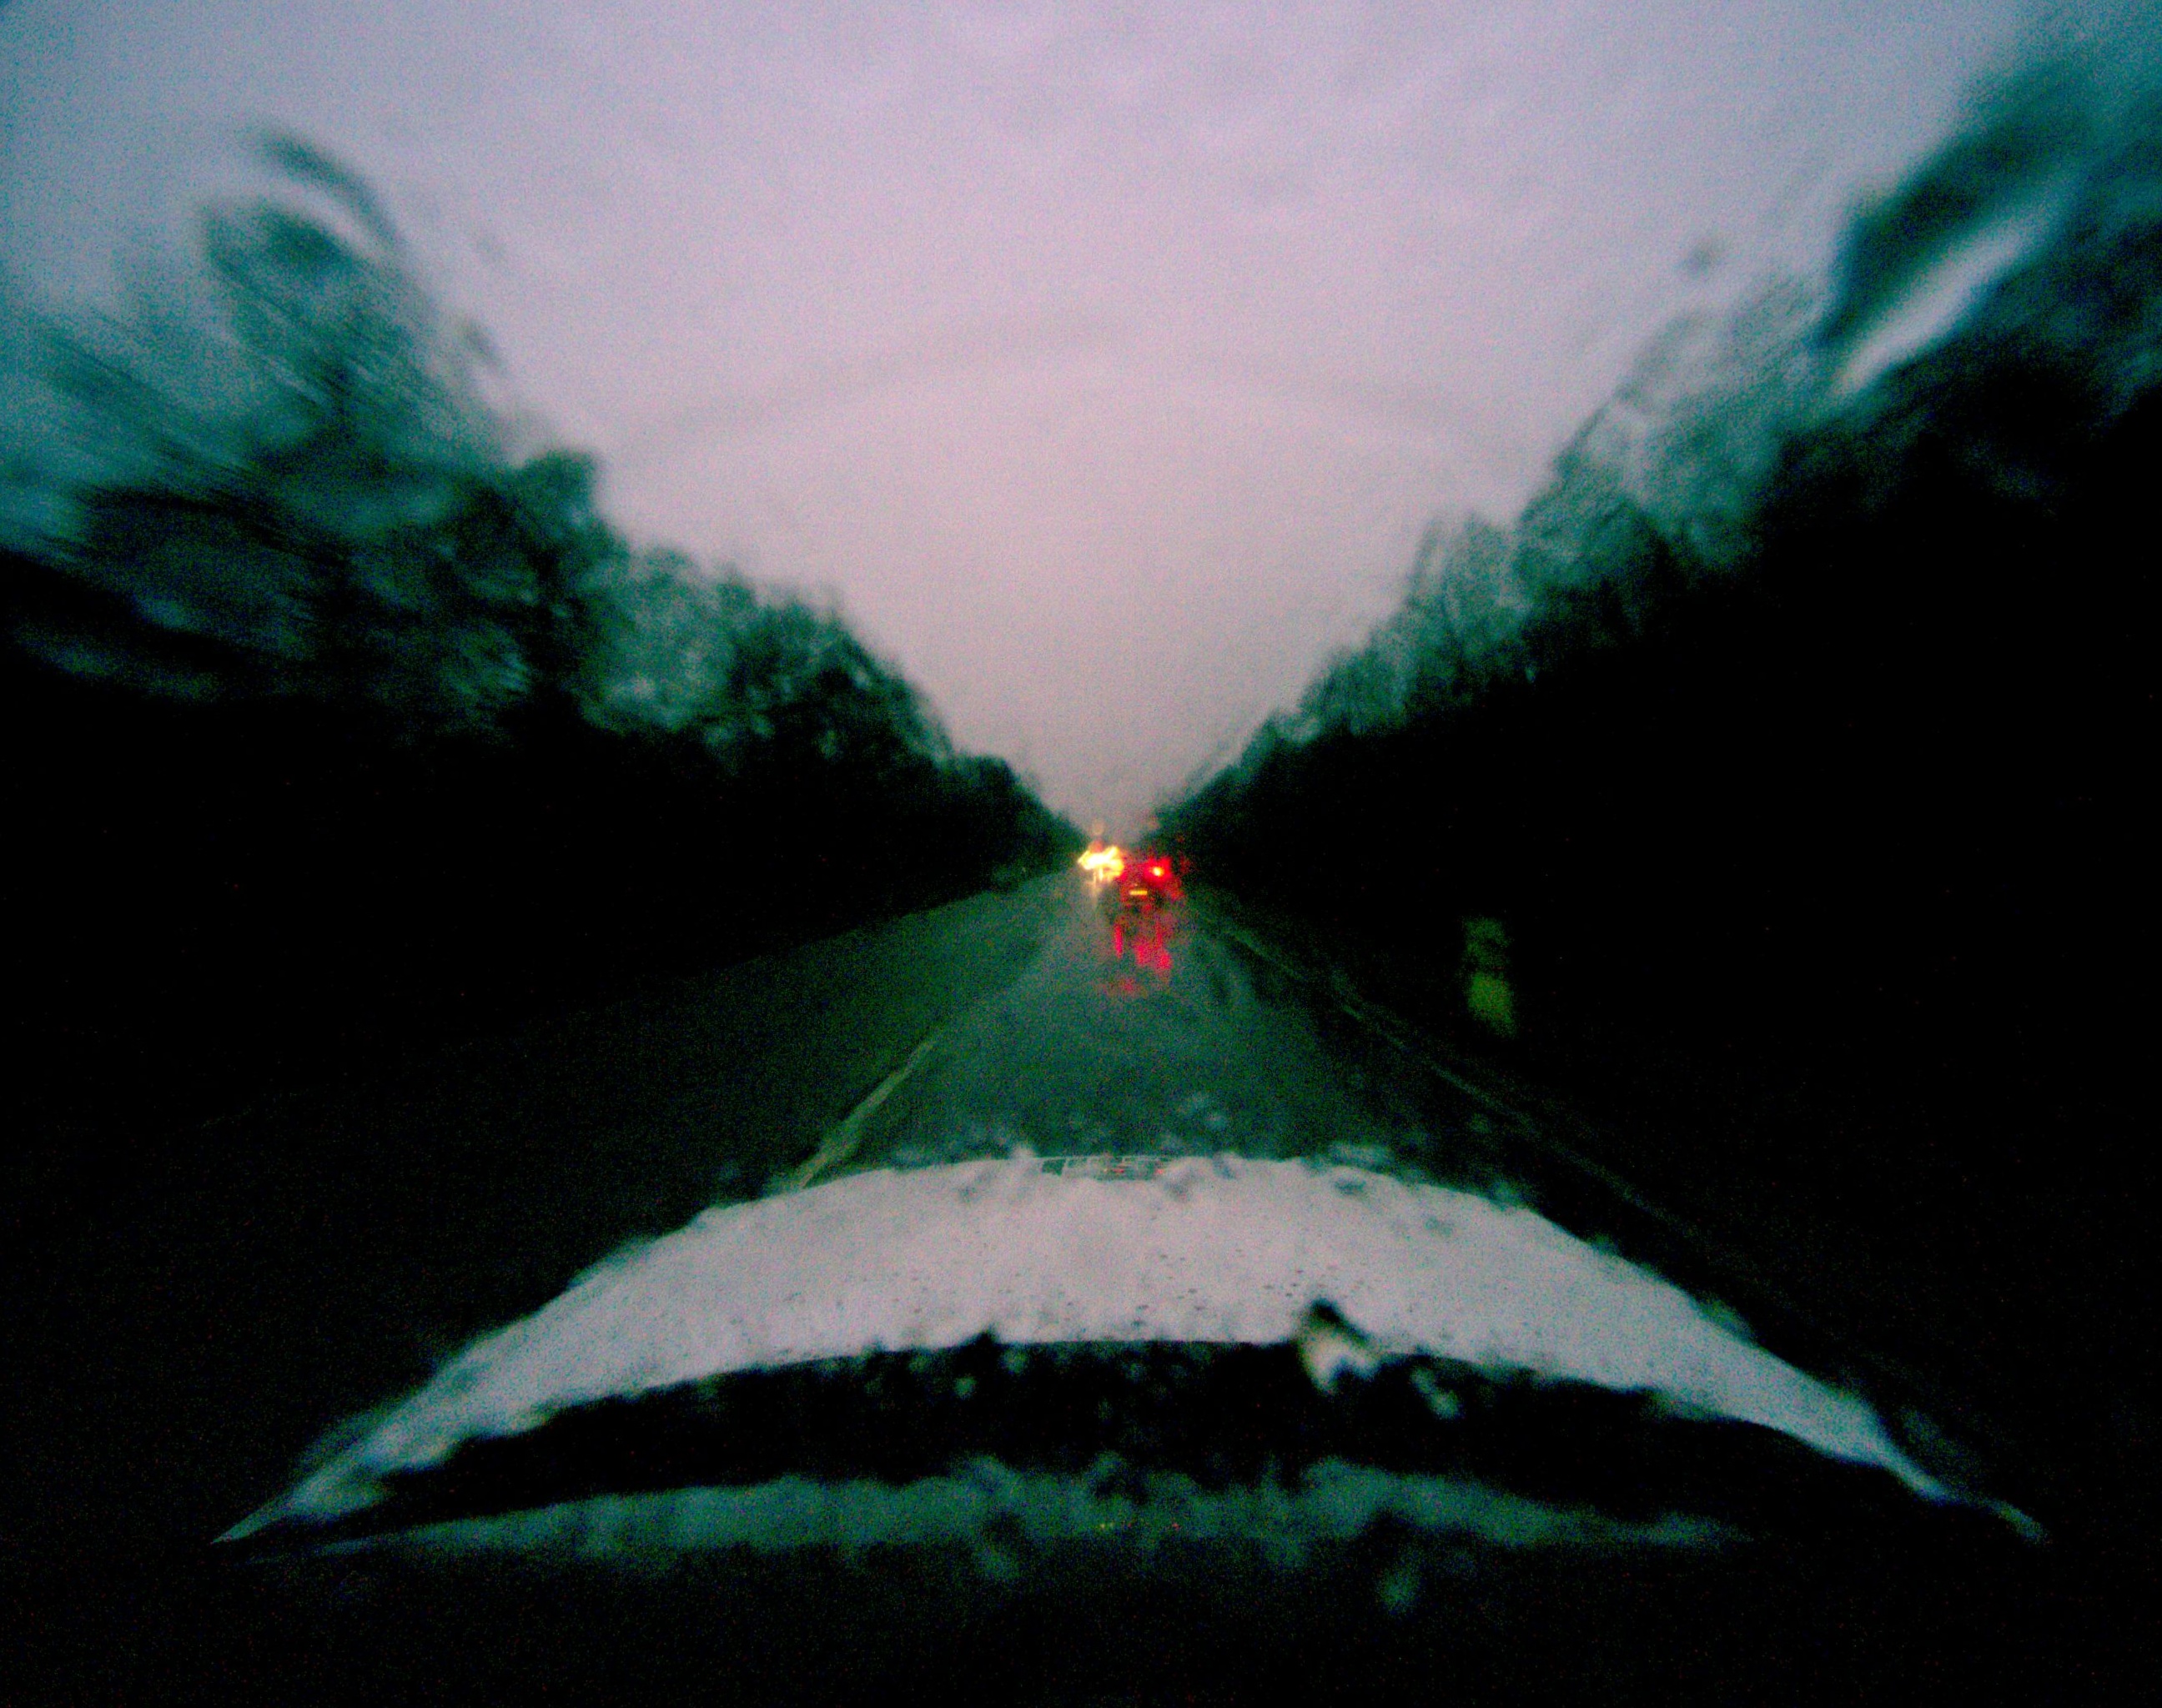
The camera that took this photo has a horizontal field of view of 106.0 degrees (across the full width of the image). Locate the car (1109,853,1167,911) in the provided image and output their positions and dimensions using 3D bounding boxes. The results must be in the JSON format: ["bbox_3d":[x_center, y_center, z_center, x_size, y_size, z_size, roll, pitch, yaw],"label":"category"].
[{"bbox_3d":[1.759,0.813,25.216,1.641,1.672,3.517,-1,0,4],"label":"car"}]

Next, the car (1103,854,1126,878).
[{"bbox_3d":[2.589,0.946,63.001,1.726,1.779,4.002,-1,0,2],"label":"car"}]
